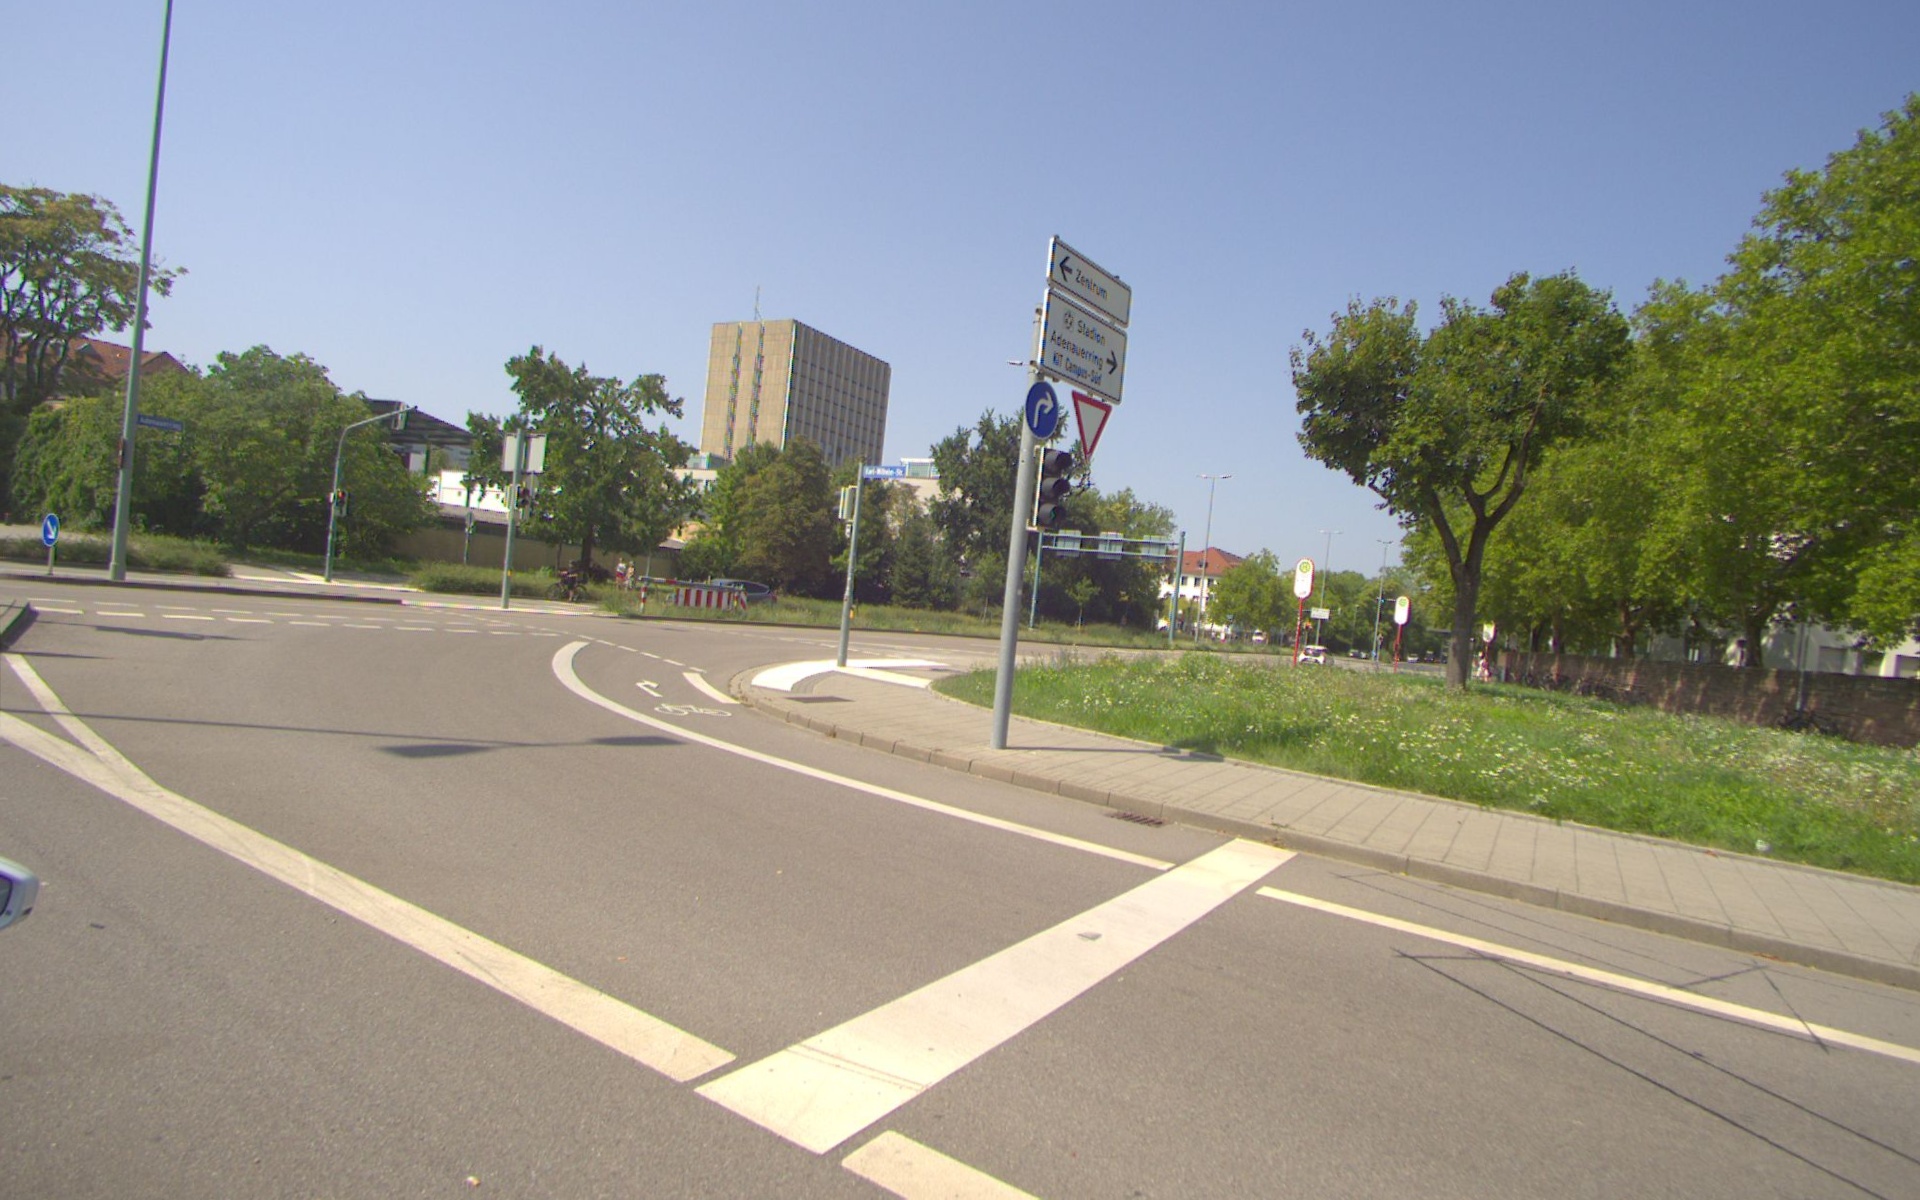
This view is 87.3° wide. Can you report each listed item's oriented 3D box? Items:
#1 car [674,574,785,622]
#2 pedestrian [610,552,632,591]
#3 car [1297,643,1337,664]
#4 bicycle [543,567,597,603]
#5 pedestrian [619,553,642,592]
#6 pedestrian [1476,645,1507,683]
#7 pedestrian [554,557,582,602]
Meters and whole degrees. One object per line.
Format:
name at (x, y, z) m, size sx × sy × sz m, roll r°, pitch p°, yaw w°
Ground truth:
car at (-8.032, -0.040, 35.238) m, size 1.764 × 1.374 × 3.413 m, roll 5°, pitch -1°, yaw 35°
pedestrian at (-16.470, -1.387, 48.855) m, size 0.683 × 1.794 × 0.585 m, roll 7°, pitch 2°, yaw 36°
car at (23.737, 3.541, 66.828) m, size 1.566 × 1.151 × 3.252 m, roll 7°, pitch 1°, yaw 35°
bicycle at (-15.446, -0.575, 39.879) m, size 0.774 × 1.228 × 1.783 m, roll 7°, pitch 1°, yaw 36°
pedestrian at (-15.874, -1.329, 48.459) m, size 0.683 × 1.794 × 0.585 m, roll 7°, pitch 2°, yaw 36°
pedestrian at (30.458, 3.655, 57.623) m, size 1.052 × 2.040 × 1.234 m, roll 7°, pitch 2°, yaw 12°
pedestrian at (-15.492, -0.815, 39.774) m, size 0.768 × 1.690 × 0.547 m, roll 7°, pitch 2°, yaw 36°
